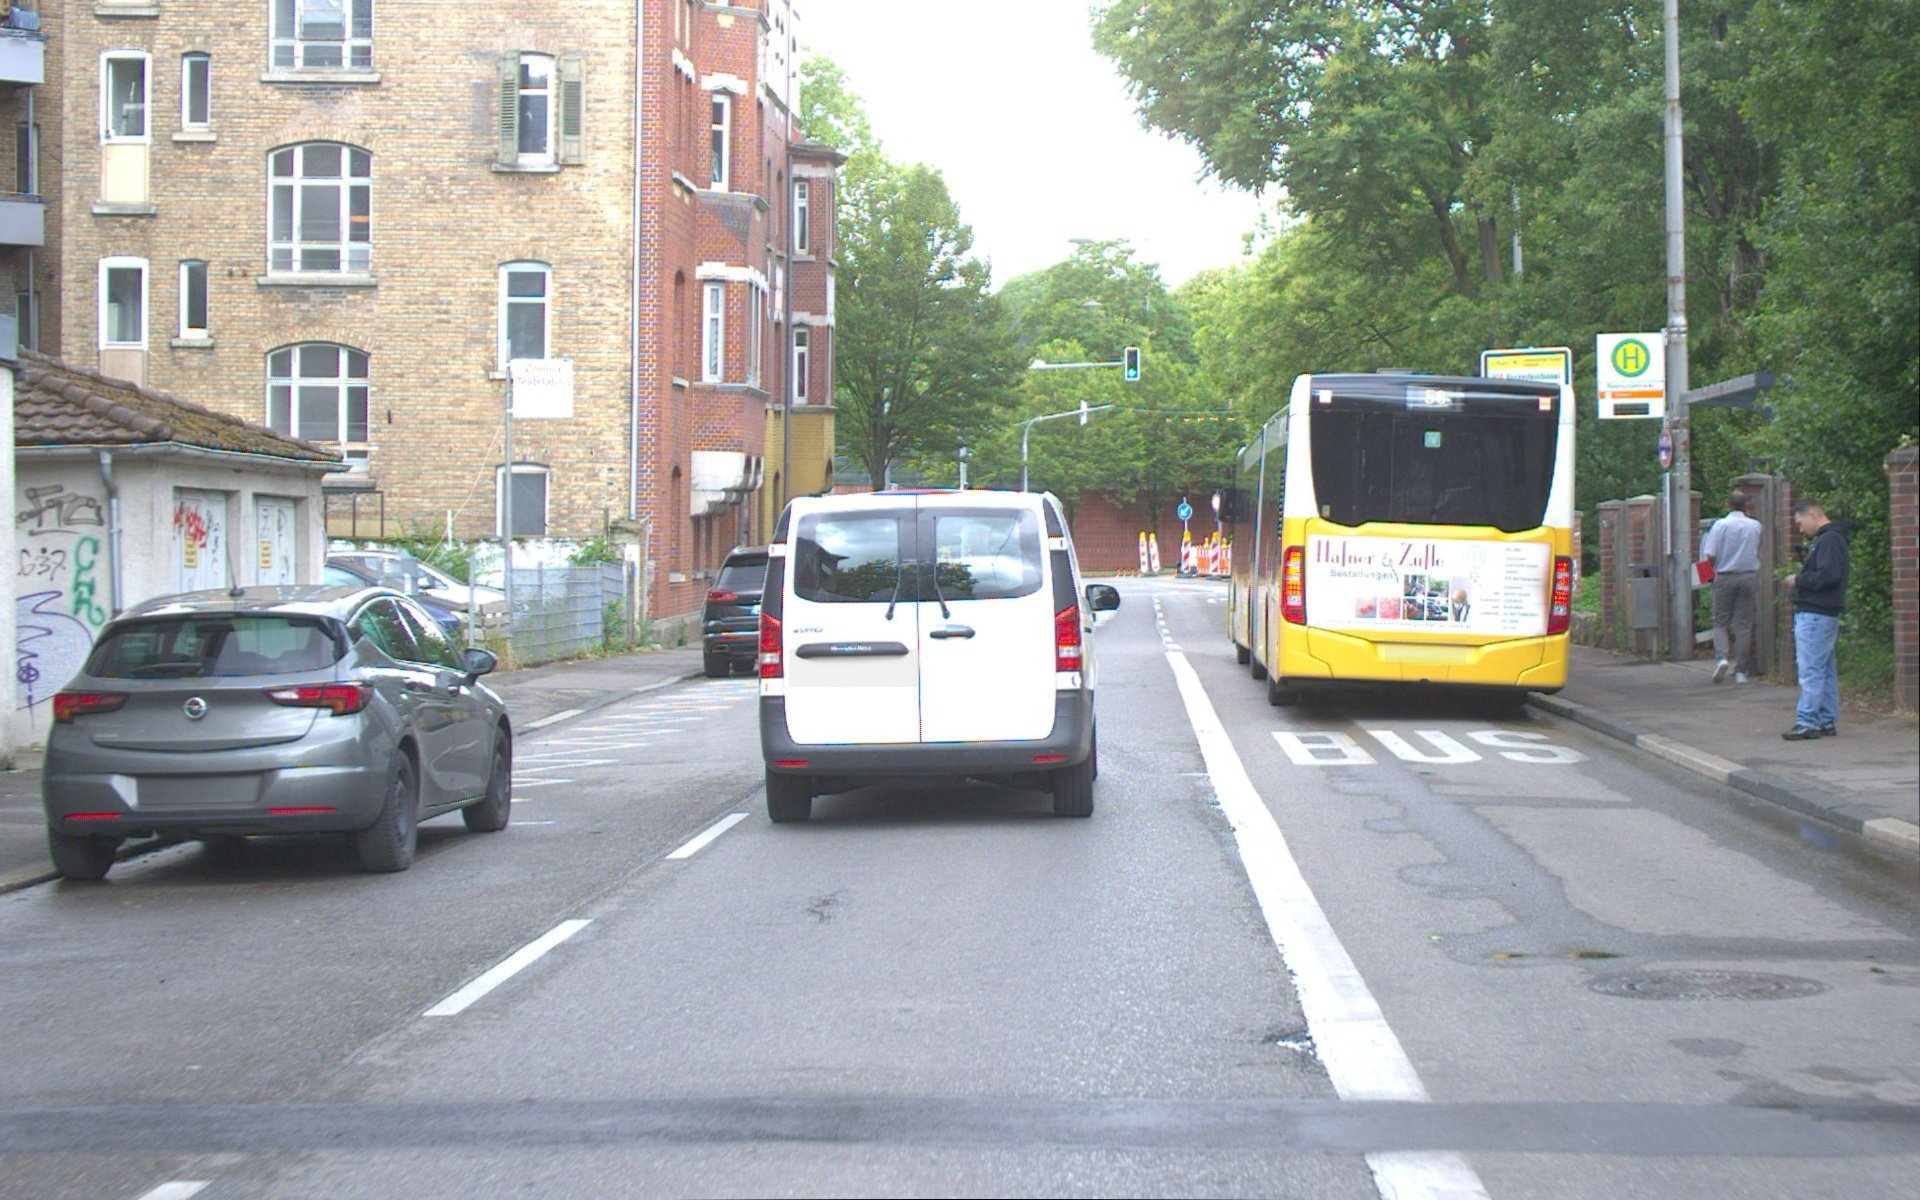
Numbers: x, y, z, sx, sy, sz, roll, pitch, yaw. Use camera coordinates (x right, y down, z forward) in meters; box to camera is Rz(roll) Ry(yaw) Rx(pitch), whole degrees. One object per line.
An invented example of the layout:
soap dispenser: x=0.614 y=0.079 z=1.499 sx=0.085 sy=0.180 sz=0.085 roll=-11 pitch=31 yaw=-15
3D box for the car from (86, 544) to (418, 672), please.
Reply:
car: x=-8.932 y=0.089 z=43.547 sx=3.723 sy=1.499 sz=1.853 roll=-1 pitch=0 yaw=4

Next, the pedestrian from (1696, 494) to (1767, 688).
pedestrian: x=7.216 y=-0.086 z=32.172 sx=0.450 sy=1.773 sz=0.672 roll=-3 pitch=0 yaw=3

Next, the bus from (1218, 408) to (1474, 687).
bus: x=4.784 y=-0.659 z=44.166 sx=2.672 sy=3.128 sz=9.217 roll=2 pitch=1 yaw=3

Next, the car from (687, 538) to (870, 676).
car: x=-2.350 y=0.043 z=45.676 sx=1.954 sy=1.728 sz=4.773 roll=0 pitch=1 yaw=3

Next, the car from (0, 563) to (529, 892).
car: x=-3.628 y=0.585 z=18.468 sx=1.878 sy=1.481 sz=4.127 roll=2 pitch=1 yaw=3

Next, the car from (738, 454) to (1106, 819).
car: x=-0.178 y=0.240 z=20.974 sx=1.917 sy=1.895 sz=4.701 roll=2 pitch=-1 yaw=1

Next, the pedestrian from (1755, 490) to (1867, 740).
pedestrian: x=6.183 y=0.103 z=24.998 sx=0.582 sy=1.773 sz=0.821 roll=2 pitch=0 yaw=3

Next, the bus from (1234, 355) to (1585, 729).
bus: x=4.256 y=-0.564 z=34.555 sx=2.663 sy=3.125 sz=10.039 roll=2 pitch=1 yaw=3

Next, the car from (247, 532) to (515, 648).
car: x=-8.564 y=-0.156 z=51.044 sx=3.596 sy=1.606 sz=1.688 roll=-1 pitch=0 yaw=4

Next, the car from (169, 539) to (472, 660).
car: x=-8.500 y=-0.011 z=45.901 sx=3.596 sy=1.499 sz=1.853 roll=-1 pitch=0 yaw=4
